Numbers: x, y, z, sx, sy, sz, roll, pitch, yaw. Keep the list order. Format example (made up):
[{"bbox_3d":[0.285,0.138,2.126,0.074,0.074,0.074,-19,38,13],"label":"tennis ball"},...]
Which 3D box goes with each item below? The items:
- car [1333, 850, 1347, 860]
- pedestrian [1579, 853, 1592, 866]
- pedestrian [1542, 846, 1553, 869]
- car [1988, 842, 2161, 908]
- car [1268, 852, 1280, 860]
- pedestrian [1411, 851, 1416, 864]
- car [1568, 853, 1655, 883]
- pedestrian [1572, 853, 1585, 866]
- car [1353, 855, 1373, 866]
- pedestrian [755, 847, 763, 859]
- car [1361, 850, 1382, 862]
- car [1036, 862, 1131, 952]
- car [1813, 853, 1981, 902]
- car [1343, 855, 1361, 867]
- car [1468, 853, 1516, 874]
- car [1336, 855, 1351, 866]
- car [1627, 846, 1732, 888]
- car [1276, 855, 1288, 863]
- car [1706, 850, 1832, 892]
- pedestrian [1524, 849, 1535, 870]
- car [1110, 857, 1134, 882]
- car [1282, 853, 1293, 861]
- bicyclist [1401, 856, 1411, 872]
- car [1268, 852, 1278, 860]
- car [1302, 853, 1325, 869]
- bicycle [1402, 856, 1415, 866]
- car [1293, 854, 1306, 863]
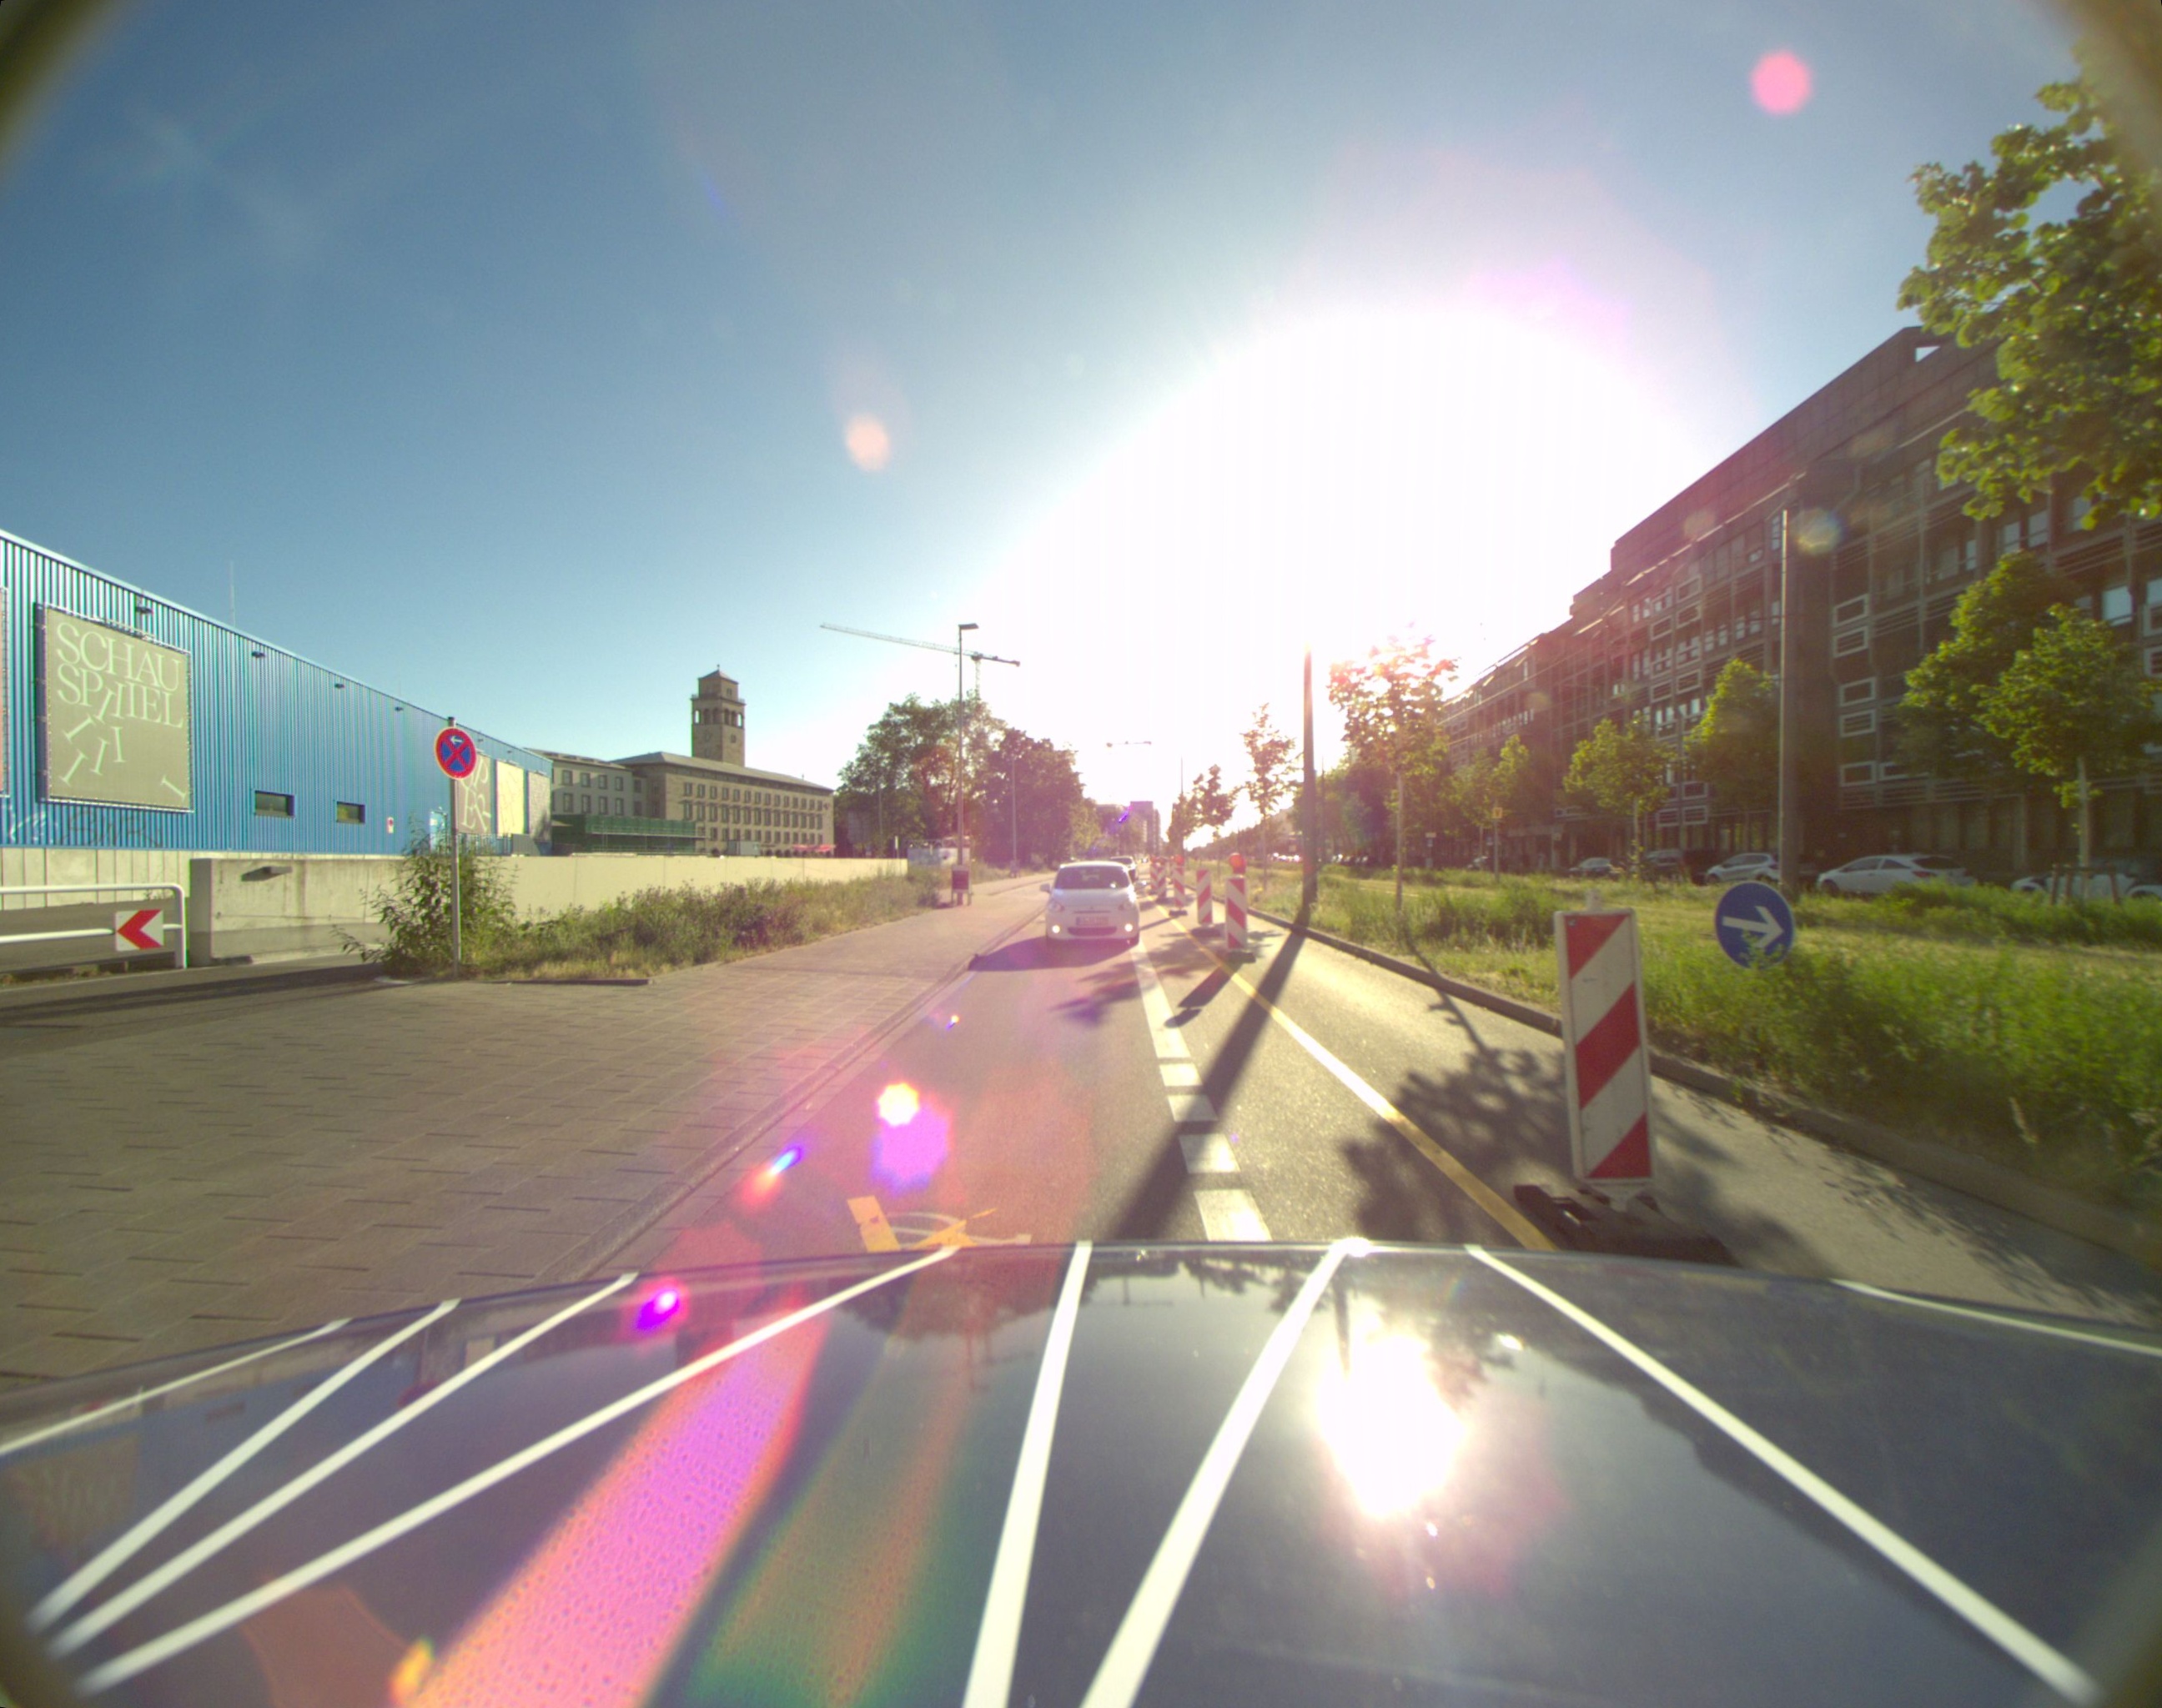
[{"bbox_3d":[42.697,0.152,125.296,1.389,1.592,3.268,-2,0,6],"label":"car"},{"bbox_3d":[36.700,0.394,55.252,0.618,0.980,0.499,0,1,9],"label":"pedestrian"},{"bbox_3d":[34.708,0.285,56.517,0.521,1.712,0.537,0,1,10],"label":"pedestrian"},{"bbox_3d":[26.328,0.483,19.504,1.652,1.545,3.968,-1,0,7],"label":"car"},{"bbox_3d":[39.601,0.331,156.094,1.864,1.671,3.782,0,0,8],"label":"car"},{"bbox_3d":[45.693,0.472,104.522,0.483,1.739,0.639,0,1,8],"label":"pedestrian"},{"bbox_3d":[28.092,0.719,40.427,1.733,1.460,4.506,-2,0,5],"label":"car"},{"bbox_3d":[36.864,0.391,56.286,0.618,0.980,0.499,0,1,9],"label":"pedestrian"},{"bbox_3d":[40.299,0.887,108.744,1.725,1.477,3.632,0,0,4],"label":"car"},{"bbox_3d":[-33.891,-0.094,79.891,0.572,1.288,0.442,-2,2,26],"label":"pedestrian"},{"bbox_3d":[39.321,0.288,102.981,1.725,1.535,3.633,-2,0,6],"label":"car"},{"bbox_3d":[0.141,0.938,14.792,1.614,1.488,3.395,-1,0,3],"label":"car"},{"bbox_3d":[26.459,0.703,24.835,1.628,1.433,3.821,-2,0,6],"label":"car"},{"bbox_3d":[40.790,1.073,114.346,1.725,1.592,3.634,-2,-1,6],"label":"car"},{"bbox_3d":[29.953,0.701,55.481,1.719,1.379,4.042,-3,0,7],"label":"car"},{"bbox_3d":[41.229,0.966,119.401,1.510,1.592,3.529,-2,0,6],"label":"car"},{"bbox_3d":[27.532,0.573,35.148,1.754,1.761,4.333,-2,0,6],"label":"car"},{"bbox_3d":[36.153,0.842,136.737,1.631,1.487,3.782,0,0,8],"label":"car"},{"bbox_3d":[27.045,0.640,30.065,1.741,1.527,3.886,-1,0,6],"label":"car"},{"bbox_3d":[33.521,0.392,56.798,0.521,1.569,0.537,0,1,10],"label":"pedestrian"},{"bbox_3d":[2.541,0.929,47.338,1.458,1.472,3.528,0,0,3],"label":"car"},{"bbox_3d":[39.018,0.506,143.432,1.631,1.487,3.782,0,0,8],"label":"car"},{"bbox_3d":[28.866,0.906,67.480,0.566,1.449,0.706,0,0,5],"label":"bicyclist"},{"bbox_3d":[37.477,0.381,148.113,1.554,1.371,3.782,0,0,8],"label":"car"},{"bbox_3d":[26.719,0.762,87.439,1.732,1.736,4.122,-1,0,4],"label":"car"},{"bbox_3d":[28.810,0.622,66.836,0.566,0.872,1.772,0,0,5],"label":"bicycle"},{"bbox_3d":[39.093,0.772,136.151,1.631,1.487,4.419,0,0,8],"label":"car"}]
